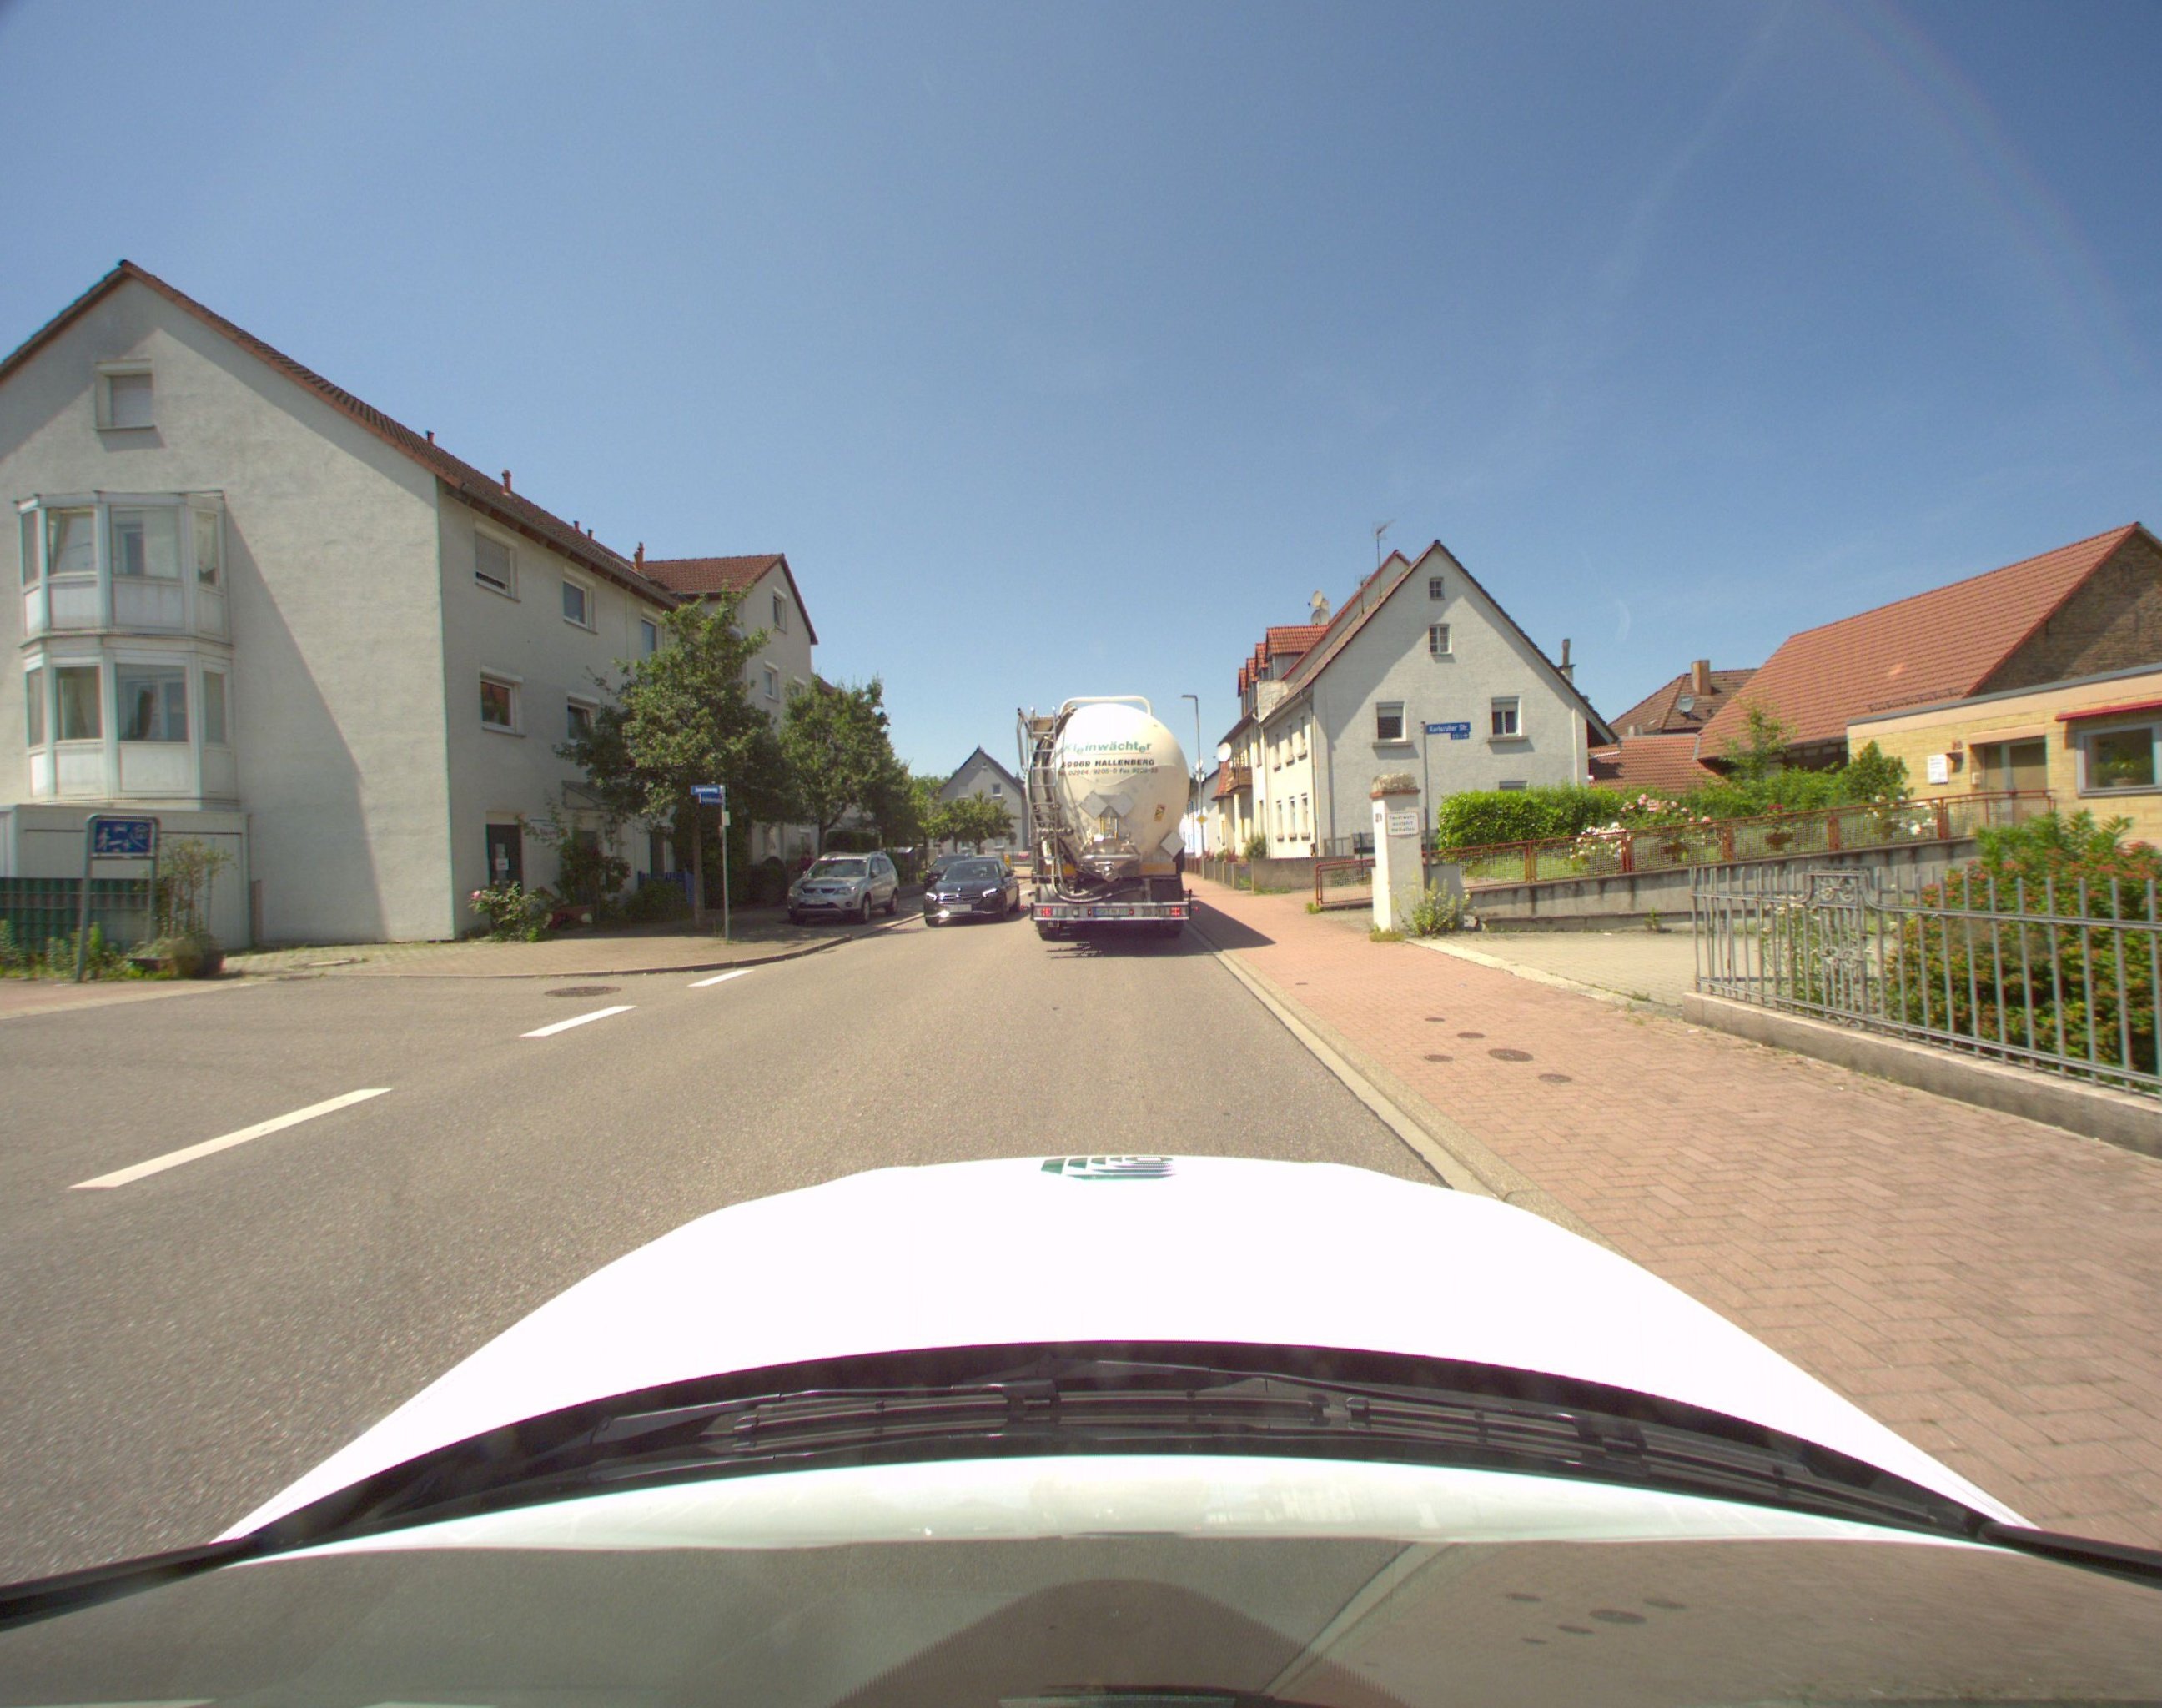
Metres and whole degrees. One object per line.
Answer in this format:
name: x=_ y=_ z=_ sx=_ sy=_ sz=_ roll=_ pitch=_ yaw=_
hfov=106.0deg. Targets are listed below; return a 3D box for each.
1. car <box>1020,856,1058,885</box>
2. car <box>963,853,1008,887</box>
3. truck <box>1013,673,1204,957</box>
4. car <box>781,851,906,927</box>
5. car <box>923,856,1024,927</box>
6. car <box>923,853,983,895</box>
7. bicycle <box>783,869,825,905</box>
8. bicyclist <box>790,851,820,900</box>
car: x=-2.280 y=0.880 z=45.237 sx=1.700 sy=1.370 sz=3.870 roll=-4 pitch=0 yaw=2
car: x=-4.770 y=0.753 z=41.093 sx=1.691 sy=1.580 sz=3.839 roll=-1 pitch=0 yaw=1
truck: x=0.466 y=-0.580 z=16.511 sx=2.632 sy=4.015 sz=9.562 roll=-2 pitch=0 yaw=1
car: x=-5.828 y=0.783 z=20.570 sx=1.700 sy=1.686 sz=4.527 roll=-1 pitch=0 yaw=1
car: x=-2.553 y=0.834 z=20.386 sx=1.724 sy=1.460 sz=4.695 roll=-3 pitch=0 yaw=1
car: x=-5.298 y=0.790 z=34.250 sx=1.685 sy=1.620 sz=4.000 roll=-1 pitch=0 yaw=2
bicycle: x=-8.682 y=1.012 z=25.561 sx=0.669 sy=1.056 sz=2.025 roll=-1 pitch=0 yaw=-2
bicyclist: x=-8.671 y=0.659 z=25.615 sx=0.657 sy=1.494 sz=0.909 roll=1 pitch=0 yaw=-2
